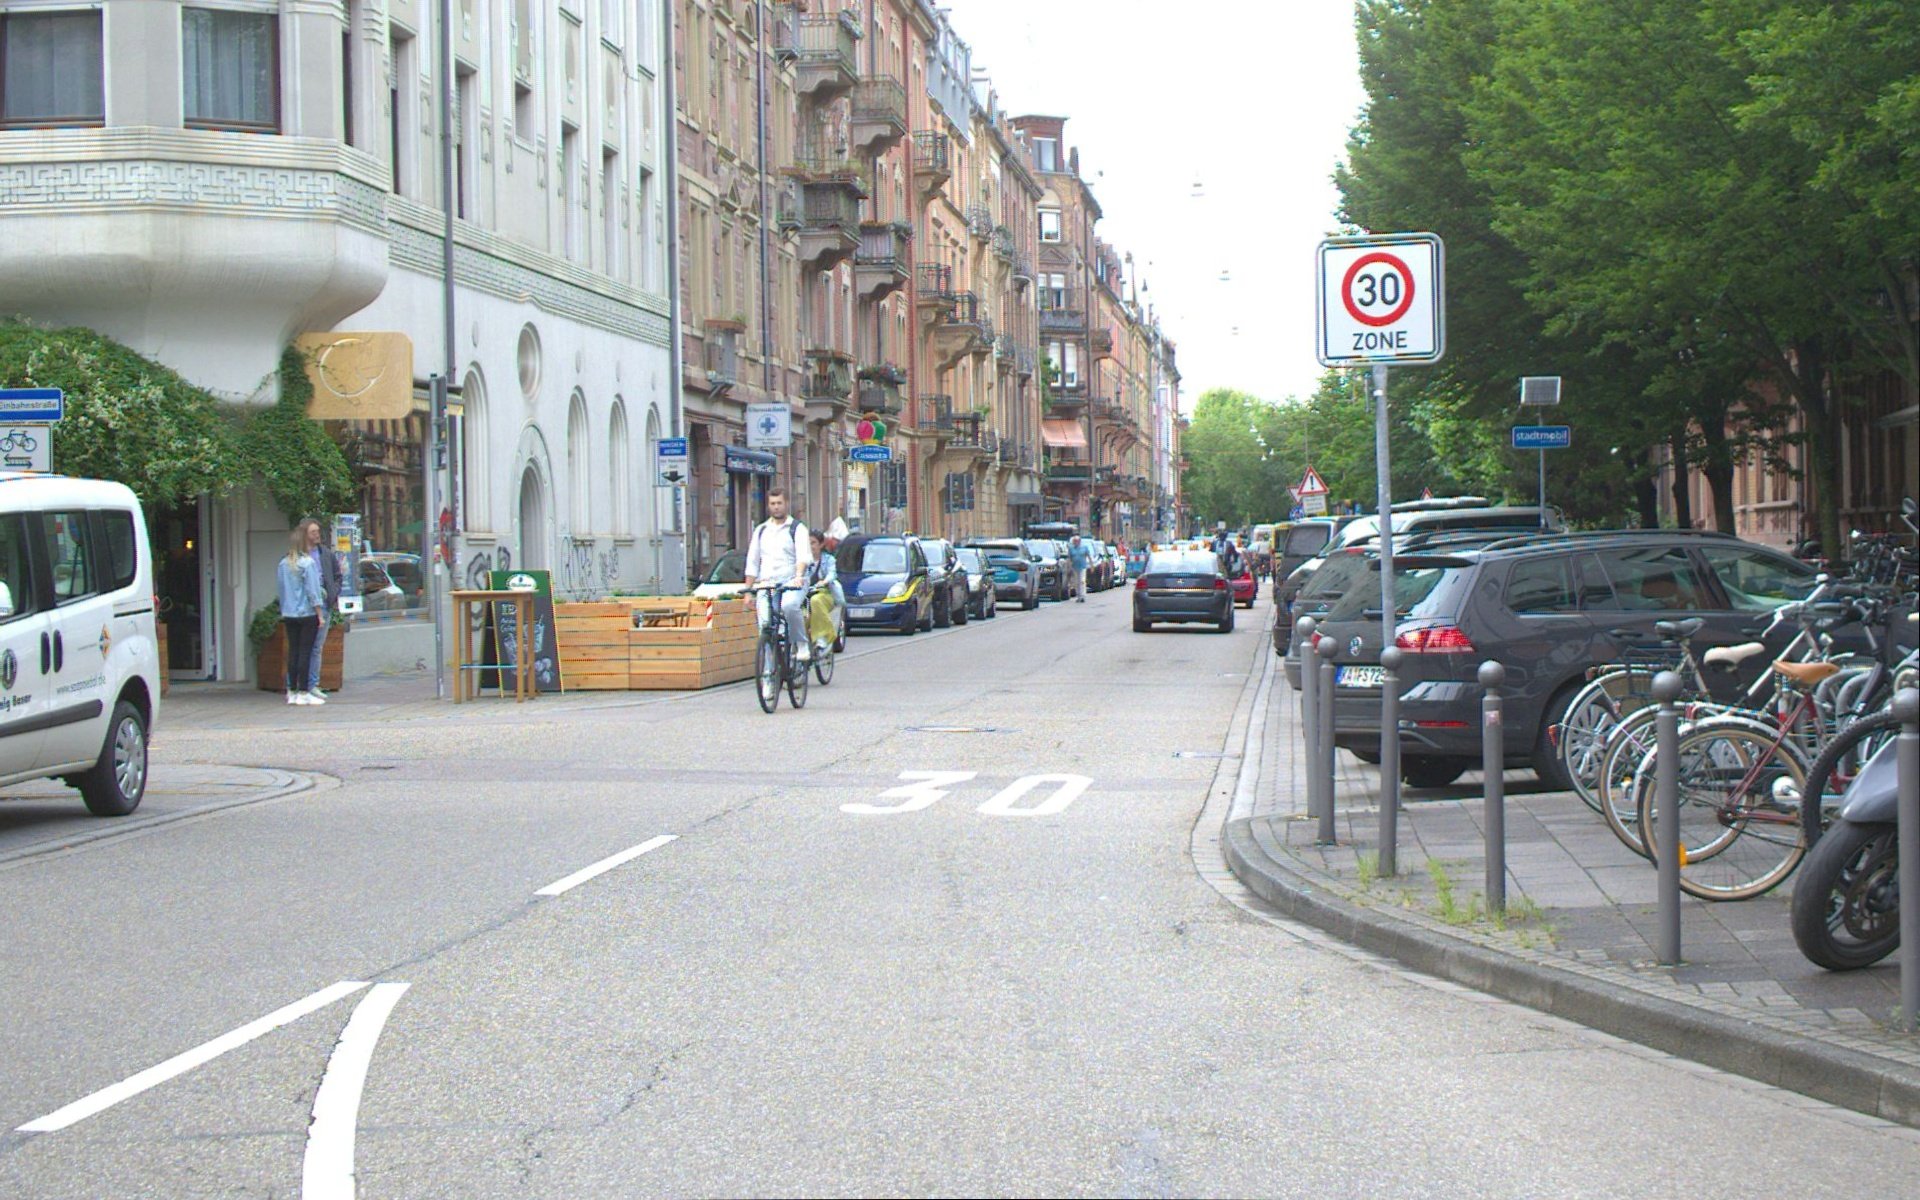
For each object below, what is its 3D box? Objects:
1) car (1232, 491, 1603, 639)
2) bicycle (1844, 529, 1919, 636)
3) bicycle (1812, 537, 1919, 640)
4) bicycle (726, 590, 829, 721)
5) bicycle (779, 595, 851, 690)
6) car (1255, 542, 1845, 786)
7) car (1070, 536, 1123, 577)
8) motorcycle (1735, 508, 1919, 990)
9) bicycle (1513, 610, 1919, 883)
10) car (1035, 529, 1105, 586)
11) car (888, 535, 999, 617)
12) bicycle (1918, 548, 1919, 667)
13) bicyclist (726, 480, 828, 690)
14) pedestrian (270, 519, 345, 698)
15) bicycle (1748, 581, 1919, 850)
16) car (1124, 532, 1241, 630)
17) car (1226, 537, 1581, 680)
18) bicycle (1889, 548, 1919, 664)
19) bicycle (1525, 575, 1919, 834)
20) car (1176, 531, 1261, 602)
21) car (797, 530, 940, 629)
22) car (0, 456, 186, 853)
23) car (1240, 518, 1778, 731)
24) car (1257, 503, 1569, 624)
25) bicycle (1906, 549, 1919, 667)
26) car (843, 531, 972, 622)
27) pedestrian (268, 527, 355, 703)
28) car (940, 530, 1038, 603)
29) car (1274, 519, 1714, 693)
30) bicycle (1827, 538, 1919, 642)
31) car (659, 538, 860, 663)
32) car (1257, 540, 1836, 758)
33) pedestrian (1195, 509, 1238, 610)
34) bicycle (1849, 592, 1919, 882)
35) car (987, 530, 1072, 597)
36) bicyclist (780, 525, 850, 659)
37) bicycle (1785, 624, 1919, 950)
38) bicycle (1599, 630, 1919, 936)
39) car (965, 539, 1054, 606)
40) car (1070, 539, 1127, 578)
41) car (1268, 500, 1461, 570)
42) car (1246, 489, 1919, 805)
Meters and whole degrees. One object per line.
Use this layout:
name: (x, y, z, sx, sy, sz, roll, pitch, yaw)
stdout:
car: (7.194, -0.557, 53.865, 5.606, 2.120, 1.950, -2, 0, -28)
bicycle: (10.064, -0.183, 35.462, 1.753, 1.088, 0.565, -1, 0, 5)
bicycle: (10.130, -0.123, 37.066, 1.753, 1.088, 0.565, -1, 0, 5)
bicycle: (-1.617, 0.480, 30.736, 0.567, 1.084, 1.986, -1, 1, 7)
bicycle: (-1.528, 0.445, 36.500, 0.535, 0.974, 1.865, -1, 0, 5)
car: (3.990, 0.370, 23.201, 3.554, 1.493, 1.846, -1, 1, -30)
car: (5.223, -1.657, 131.430, 1.993, 1.494, 4.000, -1, 0, 2)
motorcycle: (3.562, 0.415, 10.595, 2.134, 1.425, 0.771, -2, 0, 3)
bicycle: (3.271, 0.586, 14.099, 1.883, 1.040, 0.612, -2, 0, 3)
car: (3.499, -1.361, 108.563, 1.944, 1.732, 3.942, -1, 1, 6)
car: (-0.309, -0.498, 70.166, 1.944, 1.611, 3.942, 0, 1, 5)
bicycle: (9.636, 0.060, 31.160, 1.753, 1.088, 0.565, -1, 0, 5)
bicyclist: (-1.645, -0.142, 30.974, 0.782, 1.860, 0.714, -1, 1, 7)
pedestrian: (-6.375, 0.078, 33.584, 0.578, 1.729, 0.506, 0, 0, -30)
bicycle: (4.479, 0.475, 15.054, 1.883, 1.137, 0.612, -2, 0, 3)
car: (3.984, -0.317, 61.222, 1.994, 1.675, 3.999, -1, 0, 4)
car: (5.184, 0.089, 40.056, 3.851, 1.500, 1.771, -2, 1, -34)
bicycle: (9.741, 0.049, 32.545, 1.753, 1.088, 0.565, -1, 0, 5)
bicycle: (3.663, 0.483, 16.167, 1.883, 1.137, 0.612, -2, 0, 3)
car: (6.293, -0.798, 83.723, 1.994, 1.675, 3.999, -1, 0, 4)
car: (-1.494, -0.359, 57.655, 1.944, 1.611, 3.942, 0, 1, 5)
car: (-5.562, 0.263, 17.182, 1.844, 1.933, 4.547, 0, 1, 7)
car: (4.607, 0.179, 28.859, 4.046, 1.579, 1.904, -2, 0, -25)
car: (8.180, -0.658, 61.907, 5.386, 1.985, 1.950, -2, 0, -28)
bicycle: (9.742, 0.067, 31.937, 1.753, 1.088, 0.565, -1, 0, 5)
car: (-0.927, -0.445, 63.098, 1.944, 1.611, 3.942, 0, 1, 5)
pedestrian: (-6.189, 0.144, 32.805, 0.579, 1.655, 0.575, -1, 0, 27)
car: (0.700, -0.790, 79.223, 1.944, 1.611, 3.942, -1, 1, 5)
car: (5.394, 0.044, 34.728, 4.046, 1.579, 1.771, -2, 0, -25)
bicycle: (10.107, -0.111, 36.329, 1.753, 1.088, 0.565, -1, 0, 5)
car: (-2.657, -0.018, 46.395, 1.945, 1.548, 3.816, -2, 0, 8)
car: (4.471, 0.344, 26.224, 3.972, 1.538, 1.876, 0, 1, -25)
pedestrian: (5.480, -0.861, 73.463, 0.891, 2.138, 1.028, -1, 0, 4)
bicycle: (4.431, 0.479, 13.036, 1.929, 1.073, 0.612, -2, 0, 3)
car: (1.862, -0.977, 91.039, 1.944, 1.736, 3.942, 0, 1, 5)
bicyclist: (-1.537, -0.083, 36.511, 0.668, 1.394, 0.783, -1, 0, 3)
bicycle: (3.883, 0.591, 11.620, 2.009, 1.059, 0.612, -2, 0, 3)
bicycle: (3.348, 0.637, 12.453, 1.929, 1.040, 0.612, -2, 0, 3)
car: (1.254, -0.694, 85.472, 1.944, 1.611, 3.942, 0, 1, 5)
car: (4.976, -1.481, 123.422, 1.993, 1.317, 4.000, -1, 0, 2)
car: (11.955, -1.919, 101.536, 5.385, 1.861, 1.951, -2, 0, -24)
car: (4.052, 0.218, 20.494, 4.273, 1.573, 1.864, -4, 1, -27)
